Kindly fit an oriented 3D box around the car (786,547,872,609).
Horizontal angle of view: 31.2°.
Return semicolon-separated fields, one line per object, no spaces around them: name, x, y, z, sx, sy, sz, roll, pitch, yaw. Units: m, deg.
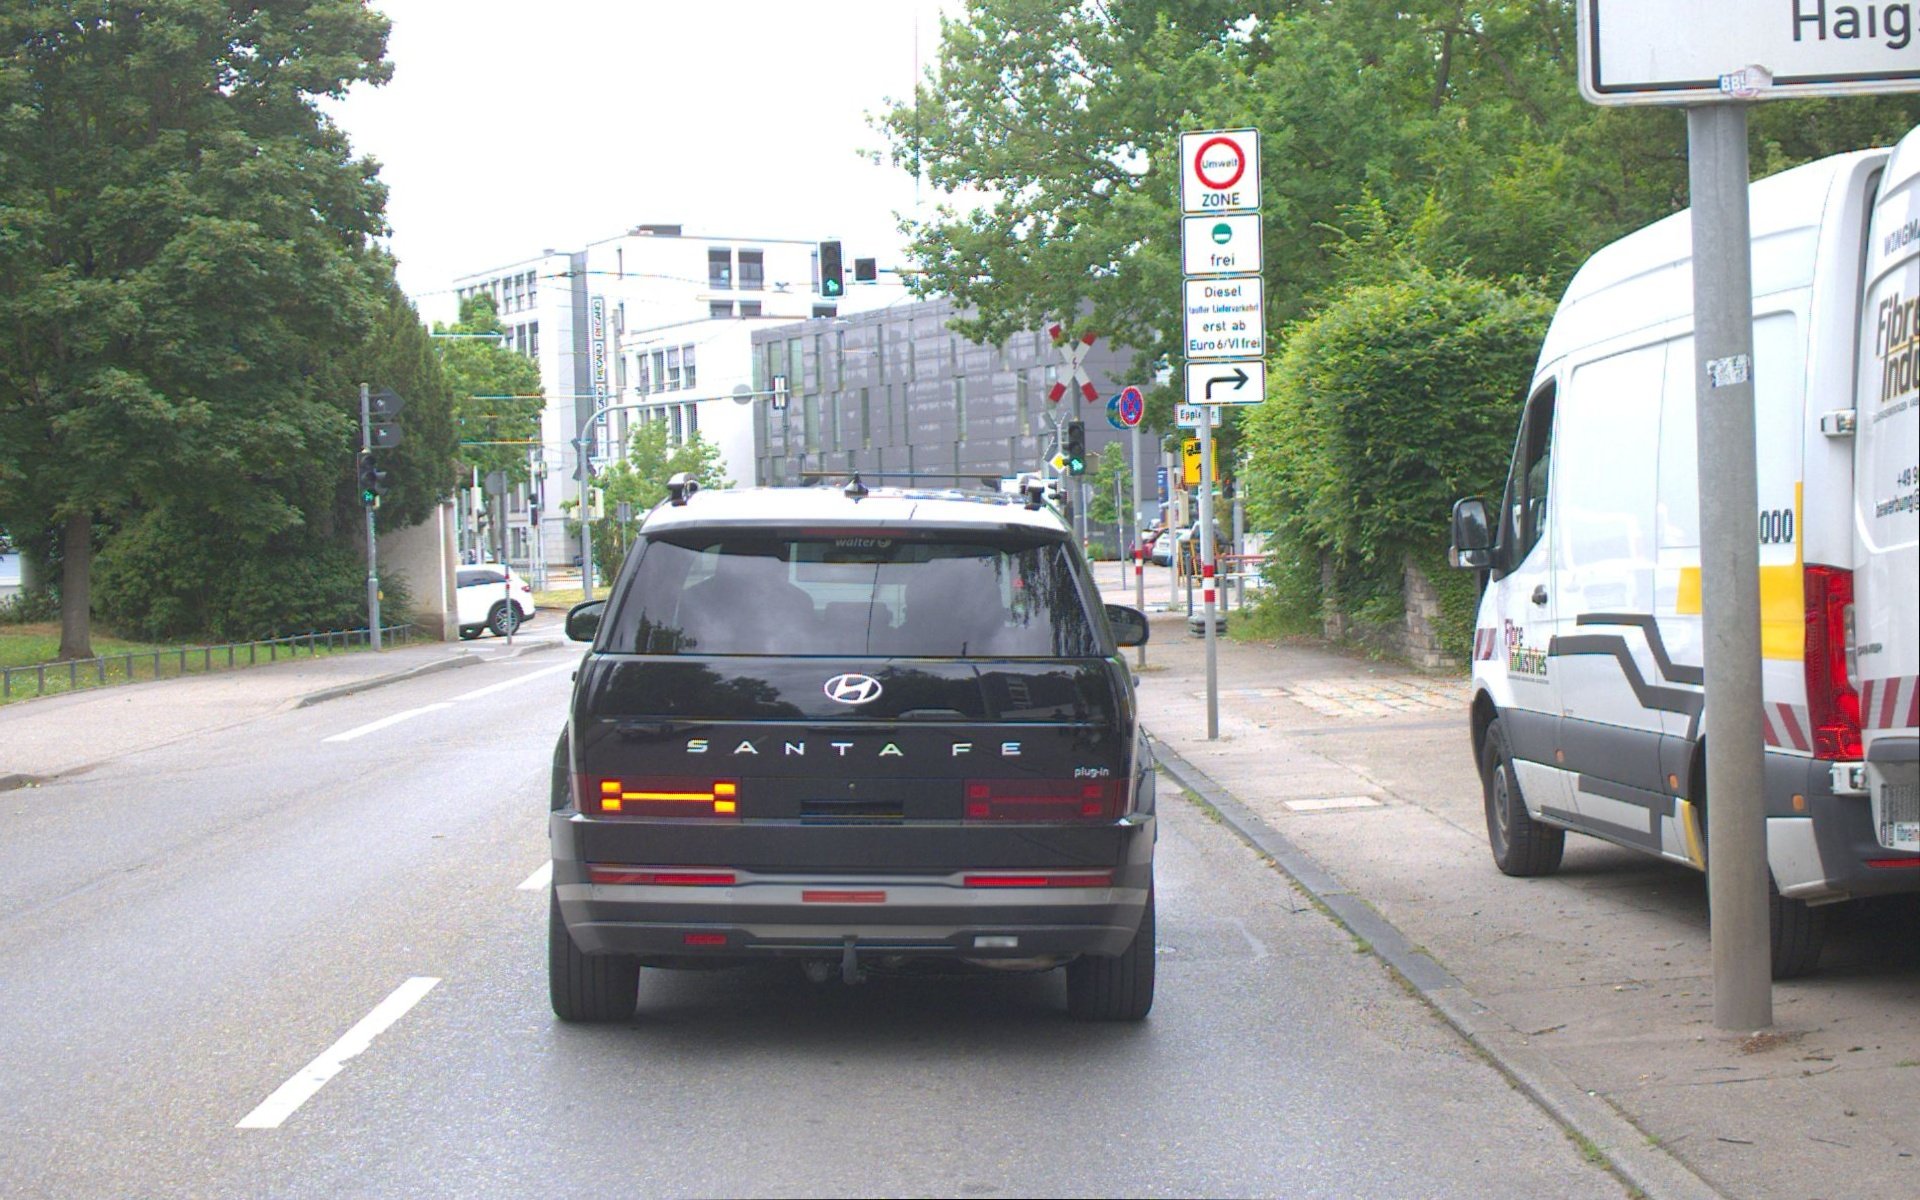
car;-3.613;-0.612;94.156;1.883;1.633;3.899;-1;1;-9

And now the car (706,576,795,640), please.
car;-5.021;0.174;81.952;1.883;1.415;4.001;-1;1;-6

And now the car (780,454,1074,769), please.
car;-0.237;0.055;24.812;1.897;2.035;3.994;2;1;-1

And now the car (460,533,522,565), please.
car;-28.756;-3.120;210.677;1.992;1.831;4.600;-2;1;-33

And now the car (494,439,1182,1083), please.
car;-0.363;0.434;11.733;1.897;1.770;3.994;2;1;-1

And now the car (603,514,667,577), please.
car;-12.404;-2.075;130.973;2.332;2.307;4.959;-1;1;-6

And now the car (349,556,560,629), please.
car;-11.234;-0.182;76.531;4.254;1.533;1.843;-2;1;-36

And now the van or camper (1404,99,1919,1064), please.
van or camper;3.418;-0.108;12.107;2.340;2.486;6.603;-4;0;-3

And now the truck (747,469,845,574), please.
truck;-6.448;-3.018;133.854;3.107;3.846;9.623;-1;1;-6

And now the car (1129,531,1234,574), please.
car;8.558;-1.851;133.243;3.987;1.578;1.889;-1;1;3

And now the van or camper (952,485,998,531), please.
van or camper;0.690;-4.249;159.313;1.795;1.992;3.824;2;1;-4

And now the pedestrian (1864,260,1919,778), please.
pedestrian;3.444;-0.268;10.866;0.736;1.638;0.801;-2;0;-24
